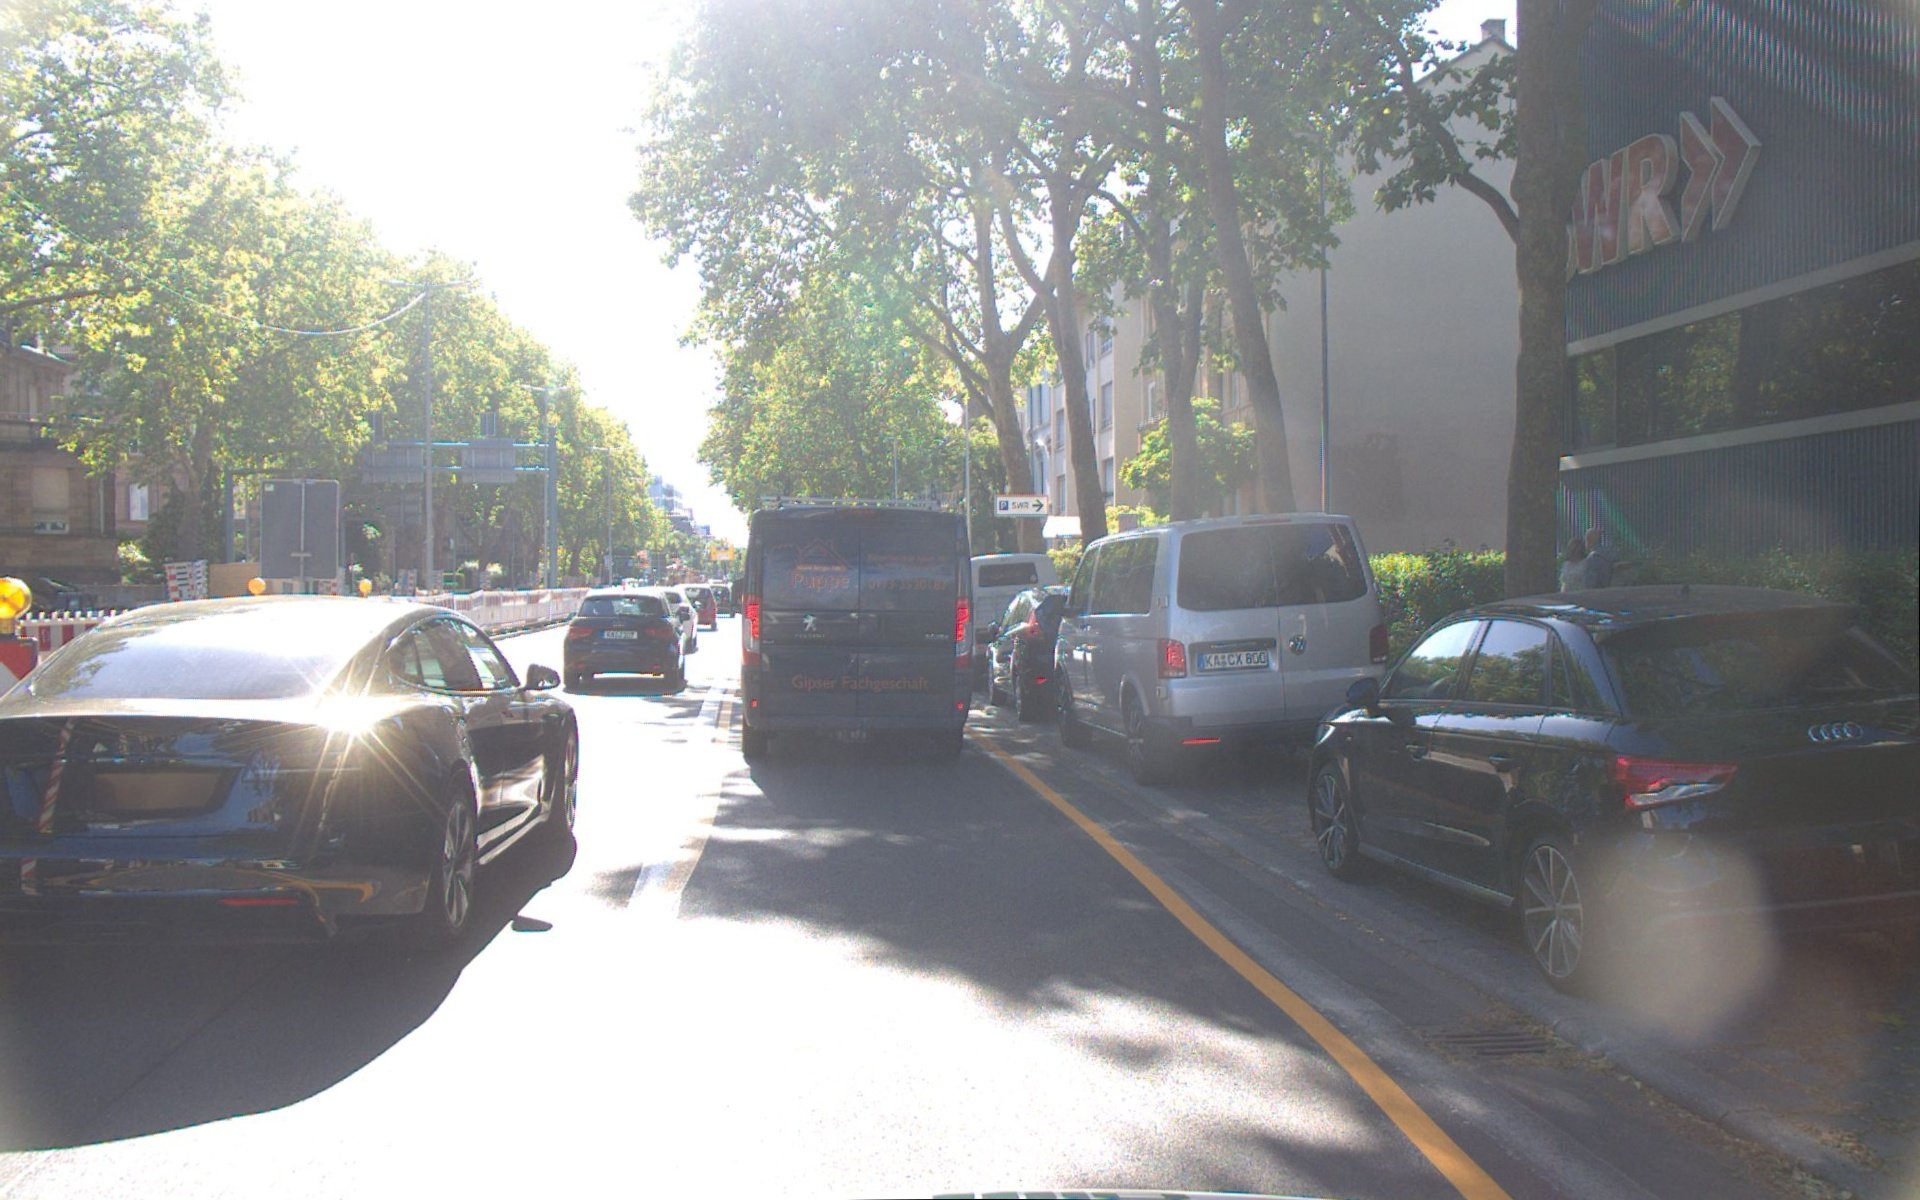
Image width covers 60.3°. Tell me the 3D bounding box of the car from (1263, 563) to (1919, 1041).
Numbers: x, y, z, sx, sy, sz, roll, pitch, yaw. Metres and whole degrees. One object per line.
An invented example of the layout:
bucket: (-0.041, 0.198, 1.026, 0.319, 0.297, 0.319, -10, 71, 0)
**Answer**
car: (2.814, 0.652, 7.580, 1.626, 1.567, 4.122, 0, 0, -7)

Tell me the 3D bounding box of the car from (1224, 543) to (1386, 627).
car: (8.119, -0.363, 39.120, 1.694, 1.885, 3.457, 0, 1, -40)

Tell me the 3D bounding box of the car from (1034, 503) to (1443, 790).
car: (2.091, 0.293, 14.220, 1.988, 1.980, 5.264, -1, 0, -8)

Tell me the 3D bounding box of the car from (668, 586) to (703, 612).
car: (-17.025, -0.054, 102.700, 1.955, 1.495, 3.995, 1, 1, -6)

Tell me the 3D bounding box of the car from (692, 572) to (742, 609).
car: (-11.003, -0.434, 75.167, 1.954, 1.616, 3.996, -1, 0, -5)

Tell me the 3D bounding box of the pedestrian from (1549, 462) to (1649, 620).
pedestrian: (6.988, -0.650, 18.109, 0.693, 1.677, 0.673, 2, 3, -10)

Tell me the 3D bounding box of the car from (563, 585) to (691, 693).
car: (-5.001, 0.534, 25.219, 1.714, 1.432, 3.992, 1, 2, -9)

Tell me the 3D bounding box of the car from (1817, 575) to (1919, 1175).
car: (3.527, 0.713, 2.649, 1.730, 1.534, 4.244, 0, 0, -7)

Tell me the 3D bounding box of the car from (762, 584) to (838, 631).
car: (-4.561, 0.178, 46.701, 1.956, 1.271, 3.992, 0, 0, -9)

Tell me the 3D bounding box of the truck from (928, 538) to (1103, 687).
truck: (0.735, 0.140, 25.139, 1.841, 1.913, 4.447, 5, 0, -7)

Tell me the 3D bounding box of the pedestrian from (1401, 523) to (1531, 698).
pedestrian: (4.891, 0.091, 16.051, 0.714, 1.630, 1.264, 0, 0, -10)

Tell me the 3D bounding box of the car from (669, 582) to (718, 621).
car: (-8.864, 0.039, 55.166, 1.394, 1.246, 3.433, -1, 0, -6)

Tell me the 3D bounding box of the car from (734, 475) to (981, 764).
car: (-1.045, 0.126, 15.763, 2.055, 2.396, 3.928, 0, 1, -6)

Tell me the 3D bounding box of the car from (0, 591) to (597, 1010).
car: (-3.052, 0.682, 8.086, 1.887, 1.436, 4.621, 0, 1, -5)

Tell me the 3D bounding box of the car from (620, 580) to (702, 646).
car: (-6.925, 0.288, 38.555, 1.517, 1.450, 3.551, 1, 0, -5)

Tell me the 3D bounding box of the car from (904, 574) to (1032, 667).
car: (0.063, 0.338, 30.730, 1.787, 1.534, 4.670, -2, 0, -7)

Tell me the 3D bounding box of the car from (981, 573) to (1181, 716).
car: (1.339, 0.462, 19.910, 1.714, 1.503, 4.096, -1, 0, -6)
